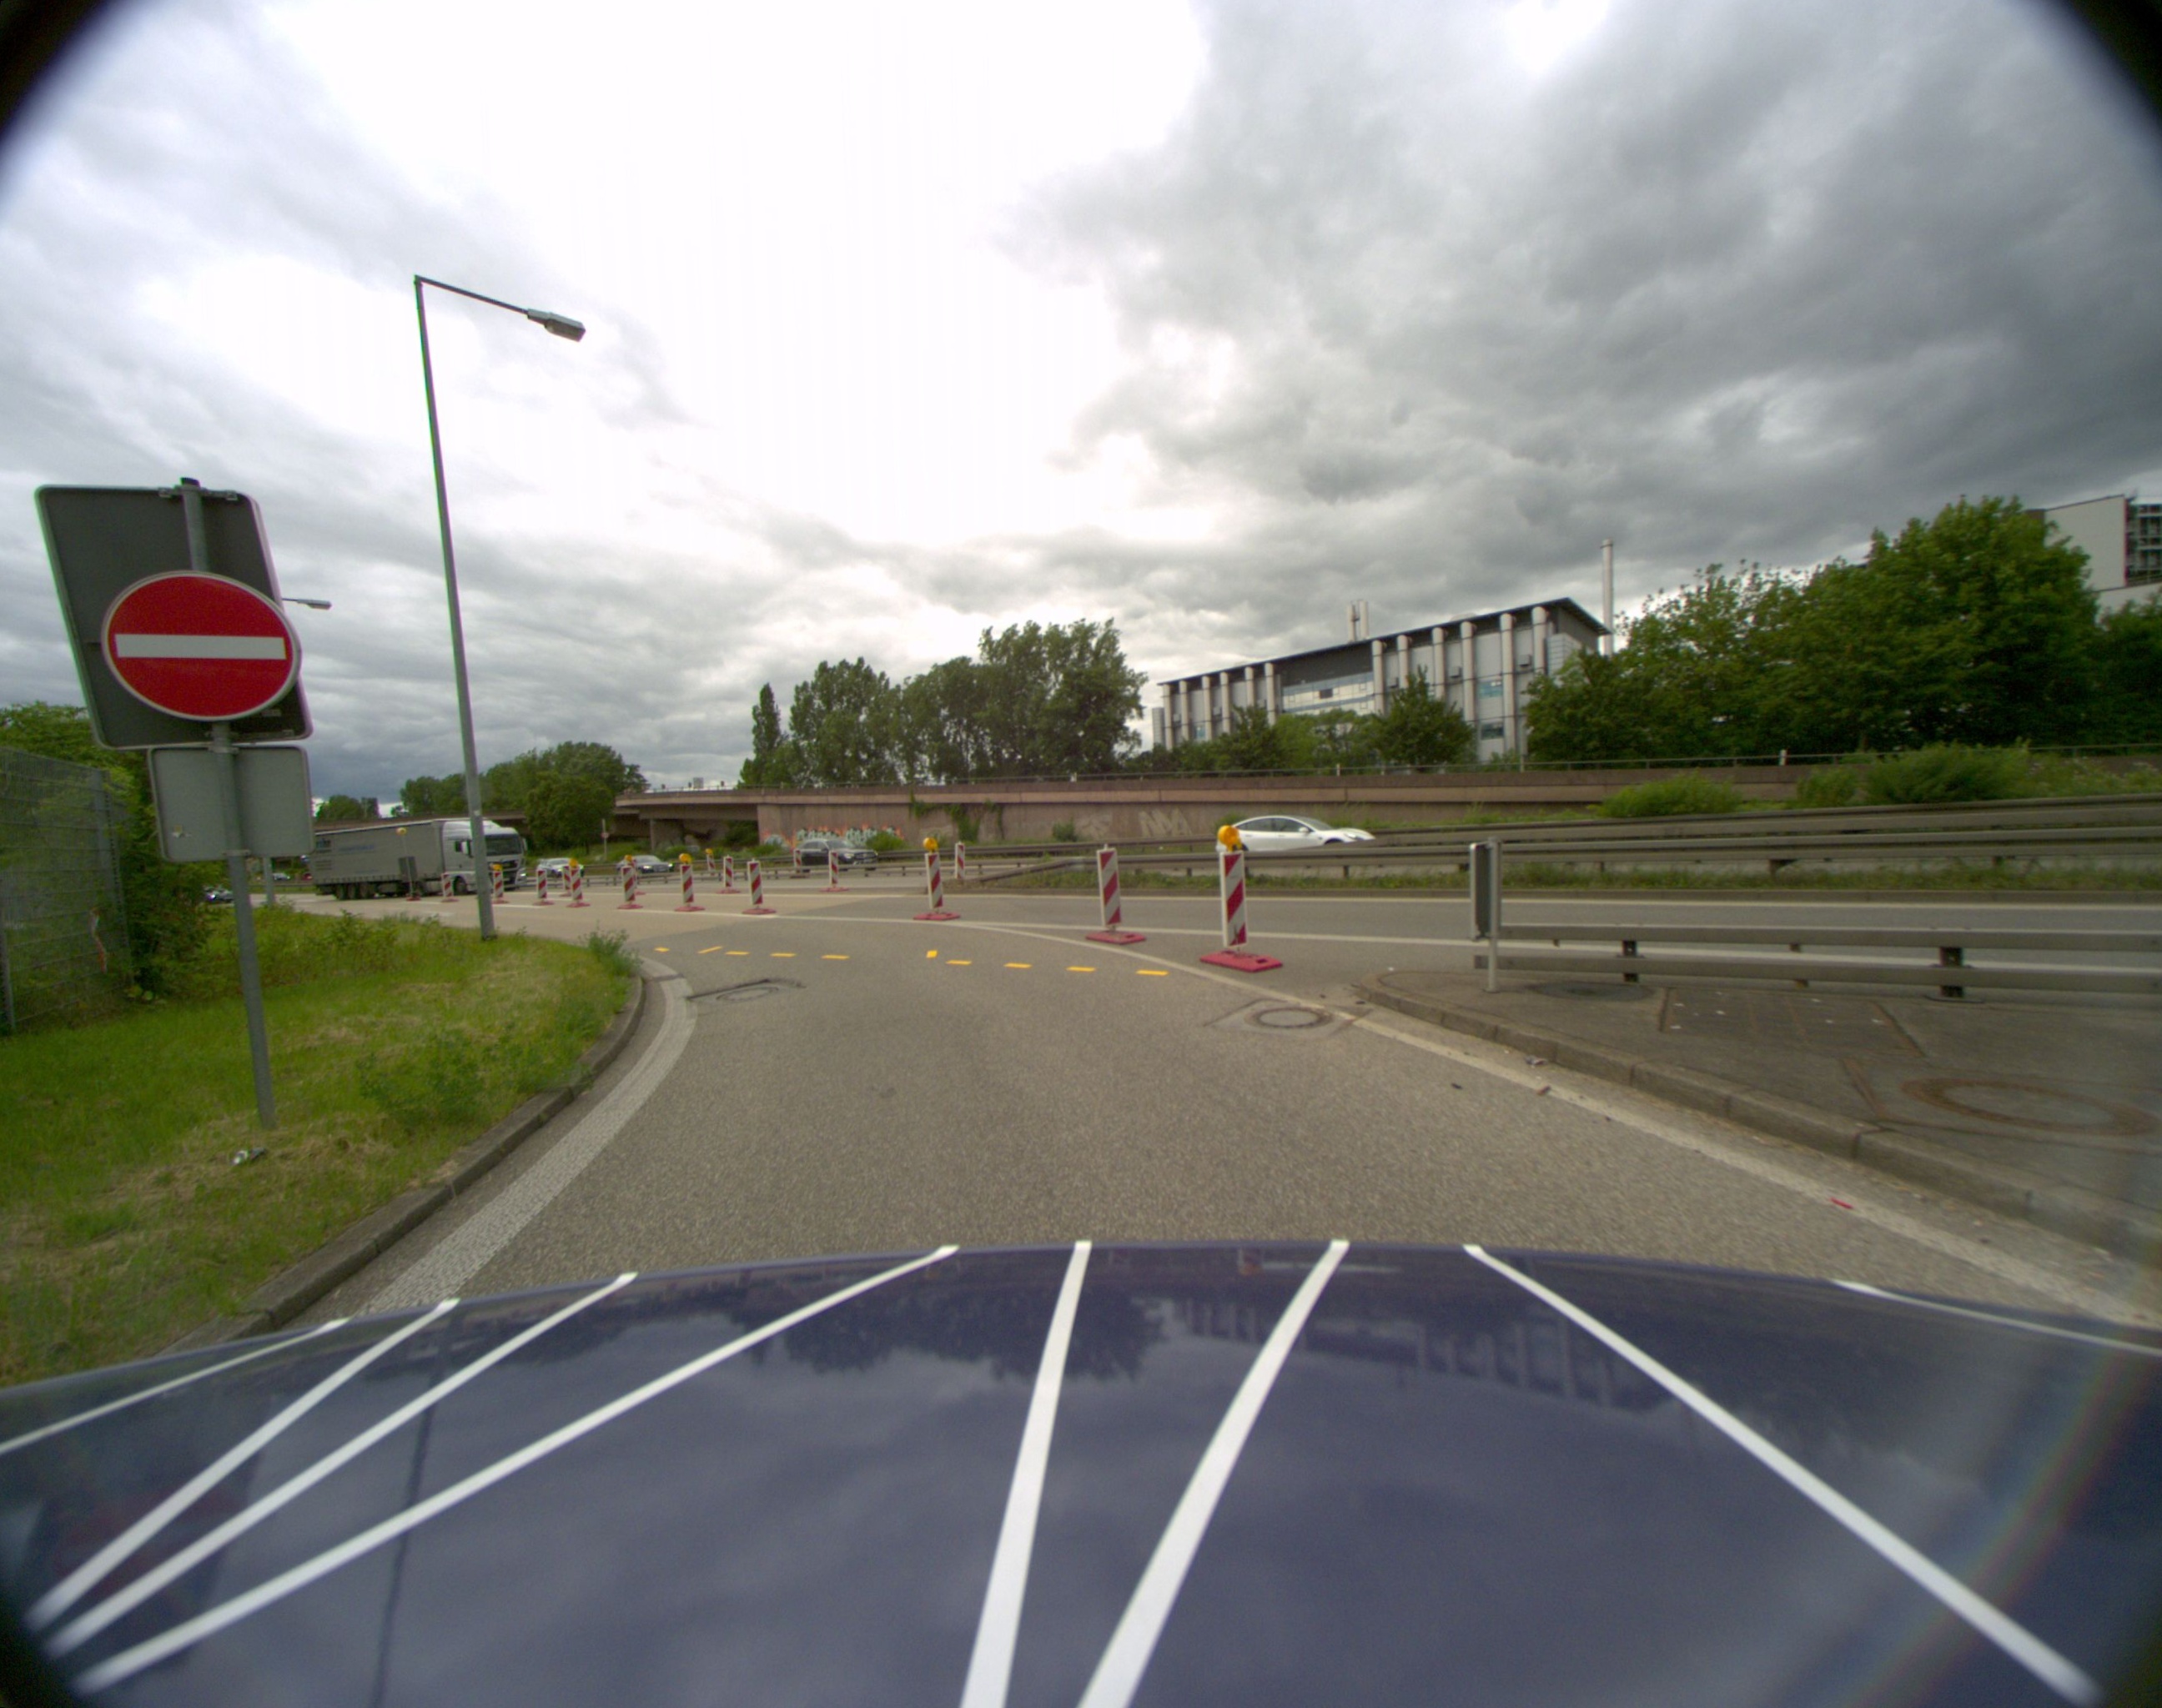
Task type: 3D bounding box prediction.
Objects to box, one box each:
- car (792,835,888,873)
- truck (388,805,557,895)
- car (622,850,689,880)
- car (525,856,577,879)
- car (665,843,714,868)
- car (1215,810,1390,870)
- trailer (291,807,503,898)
[{"bbox_3d":[-11.172,0.007,35.071,4.280,1.503,1.984,-1,4,37],"label":"car"},{"bbox_3d":[-32.201,-0.192,40.199,8.122,4.110,3.167,-3,5,24],"label":"truck"},{"bbox_3d":[-26.306,0.671,46.941,3.989,1.694,1.940,-1,3,36],"label":"car"},{"bbox_3d":[-37.879,0.930,54.270,3.988,1.503,1.806,0,4,38],"label":"car"},{"bbox_3d":[-34.319,0.130,66.593,4.274,2.003,2.003,-1,4,38],"label":"car"},{"bbox_3d":[6.424,-0.382,22.209,4.447,1.533,2.003,-1,3,37],"label":"car"},{"bbox_3d":[-38.876,-0.009,43.012,13.233,4.302,3.169,-3,4,23],"label":"trailer"}]
